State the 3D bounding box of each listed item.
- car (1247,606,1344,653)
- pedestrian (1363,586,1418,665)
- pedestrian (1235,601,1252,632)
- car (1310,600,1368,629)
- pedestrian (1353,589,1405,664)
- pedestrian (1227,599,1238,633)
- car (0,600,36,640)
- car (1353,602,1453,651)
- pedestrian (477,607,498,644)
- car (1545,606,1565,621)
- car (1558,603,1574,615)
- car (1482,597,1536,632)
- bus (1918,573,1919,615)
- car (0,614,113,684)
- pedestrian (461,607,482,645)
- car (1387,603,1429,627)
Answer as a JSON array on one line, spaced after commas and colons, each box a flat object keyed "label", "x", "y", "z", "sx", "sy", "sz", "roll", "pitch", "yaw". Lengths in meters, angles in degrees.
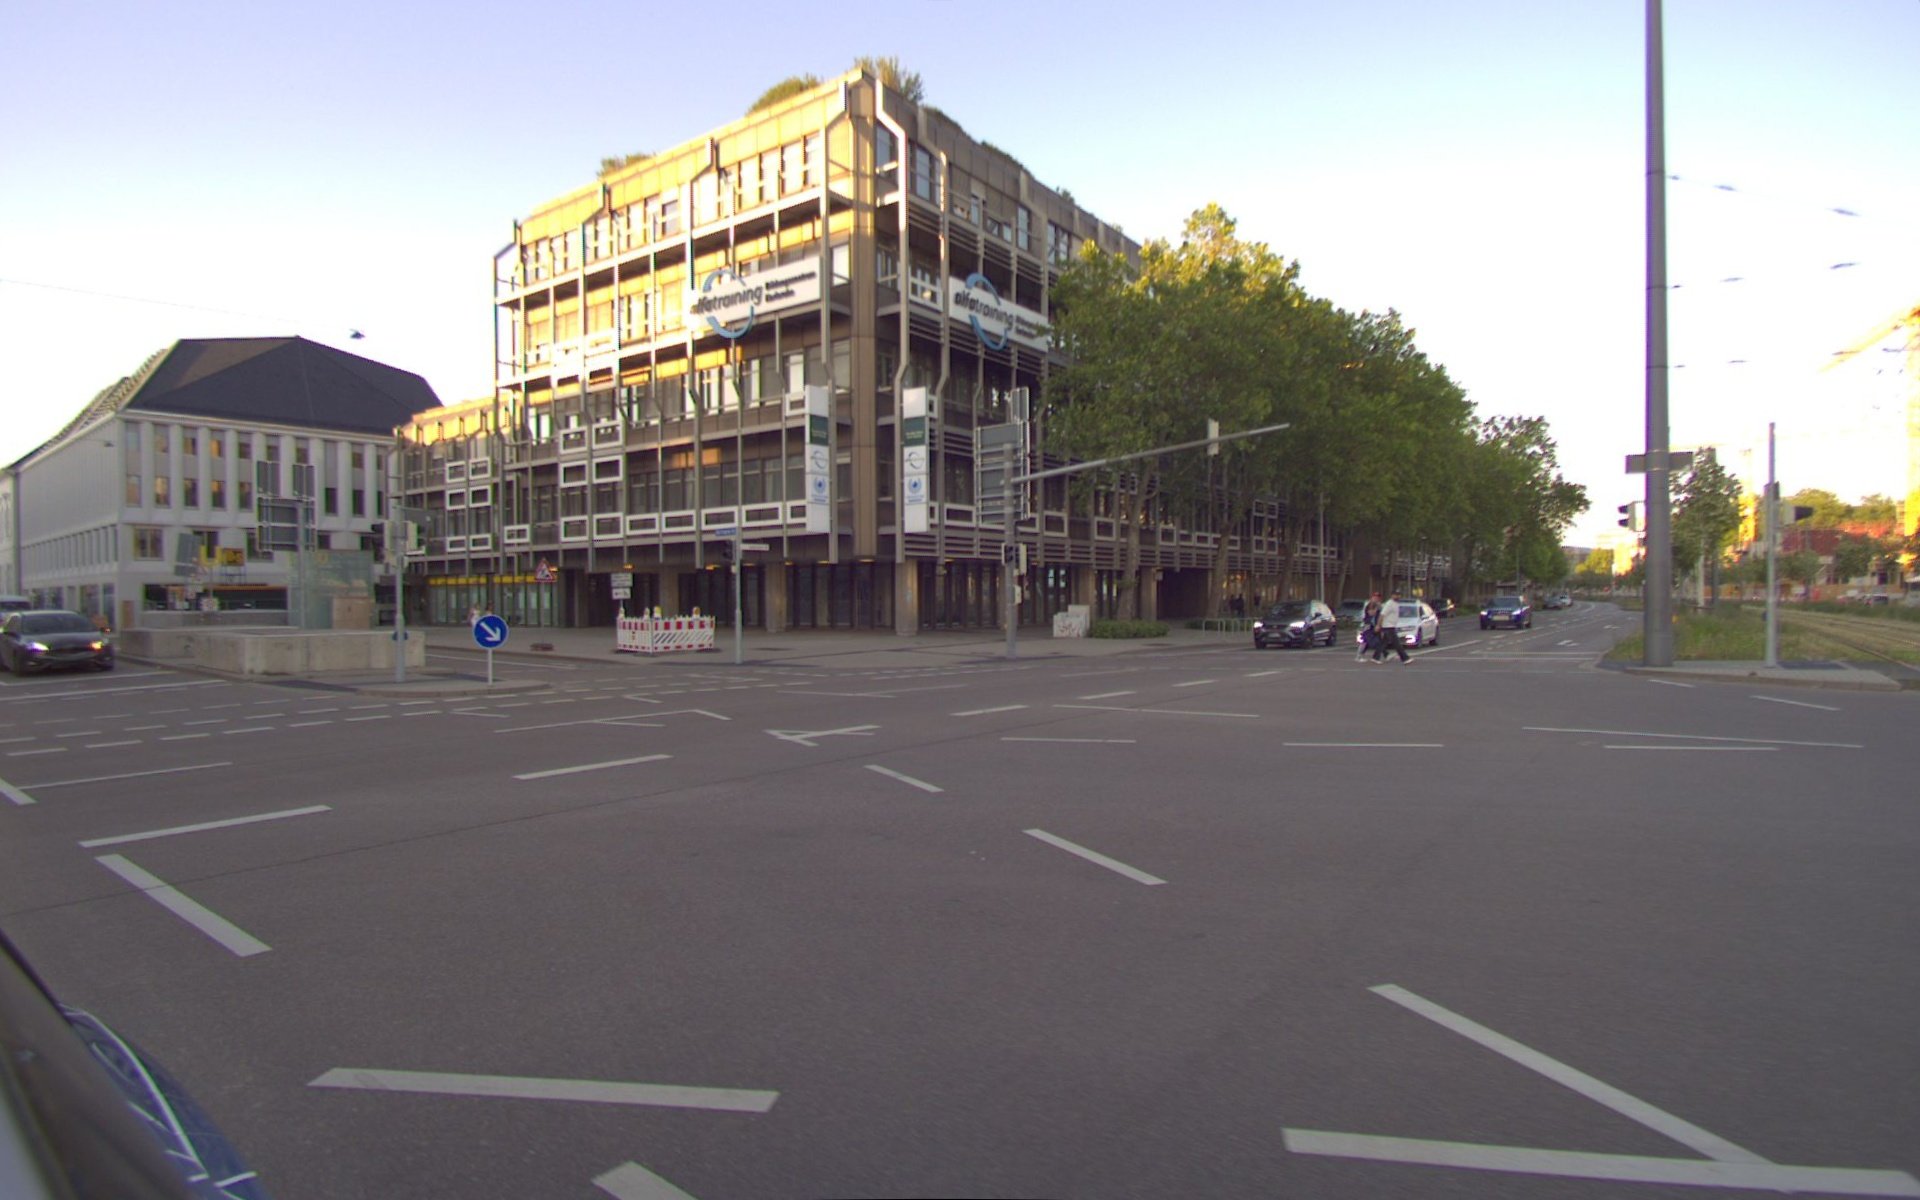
[{"label": "car", "x": 11.391, "y": 0.959, "z": 34.259, "sx": 1.849, "sy": 1.468, "sz": 3.901, "roll": -2, "pitch": -1, "yaw": 39}, {"label": "pedestrian", "x": 9.664, "y": 0.560, "z": 22.713, "sx": 0.957, "sy": 1.734, "sz": 0.813, "roll": -1, "pitch": 0, "yaw": 36}, {"label": "pedestrian", "x": 17.122, "y": 0.996, "z": 61.122, "sx": 0.755, "sy": 1.819, "sz": 0.714, "roll": 0, "pitch": 2, "yaw": 35}, {"label": "car", "x": 21.683, "y": 0.802, "z": 57.869, "sx": 1.740, "sy": 1.596, "sz": 4.531, "roll": -2, "pitch": -1, "yaw": 39}, {"label": "pedestrian", "x": 9.891, "y": 0.606, "z": 23.882, "sx": 0.957, "sy": 1.734, "sz": 0.813, "roll": -1, "pitch": 0, "yaw": 36}, {"label": "pedestrian", "x": 16.648, "y": 0.973, "z": 61.835, "sx": 0.516, "sy": 2.028, "sz": 0.575, "roll": 0, "pitch": 2, "yaw": 35}, {"label": "car", "x": -64.287, "y": 1.339, "z": 68.250, "sx": 6.045, "sy": 2.575, "sz": 2.115, "roll": -1, "pitch": 0, "yaw": 40}, {"label": "car", "x": 14.550, "y": 0.840, "z": 33.097, "sx": 1.849, "sy": 1.468, "sz": 4.531, "roll": -2, "pitch": -1, "yaw": 39}, {"label": "pedestrian", "x": -21.183, "y": 1.122, "z": 45.359, "sx": 0.702, "sy": 1.651, "sz": 0.608, "roll": -1, "pitch": 0, "yaw": 40}, {"label": "car", "x": 68.807, "y": 1.576, "z": 116.963, "sx": 1.737, "sy": 1.596, "sz": 4.539, "roll": -2, "pitch": -1, "yaw": 33}, {"label": "car", "x": 84.278, "y": 1.265, "z": 140.627, "sx": 1.737, "sy": 1.596, "sz": 4.539, "roll": -2, "pitch": -1, "yaw": 33}, {"label": "car", "x": 26.853, "y": 0.684, "z": 49.429, "sx": 1.846, "sy": 1.596, "sz": 4.538, "roll": -2, "pitch": -1, "yaw": 34}, {"label": "bus", "x": 86.613, "y": -0.551, "z": 88.225, "sx": 2.984, "sy": 3.797, "sz": 10.314, "roll": -1, "pitch": 0, "yaw": 35}, {"label": "car", "x": -22.320, "y": 1.124, "z": 24.681, "sx": 4.375, "sy": 1.473, "sz": 1.740, "roll": -1, "pitch": 2, "yaw": 39}, {"label": "pedestrian", "x": -21.644, "y": 1.143, "z": 44.862, "sx": 0.583, "sy": 1.651, "sz": 0.662, "roll": -1, "pitch": 0, "yaw": 40}, {"label": "car", "x": 30.642, "y": 0.998, "z": 69.210, "sx": 1.740, "sy": 1.596, "sz": 3.747, "roll": -2, "pitch": -1, "yaw": 38}]
